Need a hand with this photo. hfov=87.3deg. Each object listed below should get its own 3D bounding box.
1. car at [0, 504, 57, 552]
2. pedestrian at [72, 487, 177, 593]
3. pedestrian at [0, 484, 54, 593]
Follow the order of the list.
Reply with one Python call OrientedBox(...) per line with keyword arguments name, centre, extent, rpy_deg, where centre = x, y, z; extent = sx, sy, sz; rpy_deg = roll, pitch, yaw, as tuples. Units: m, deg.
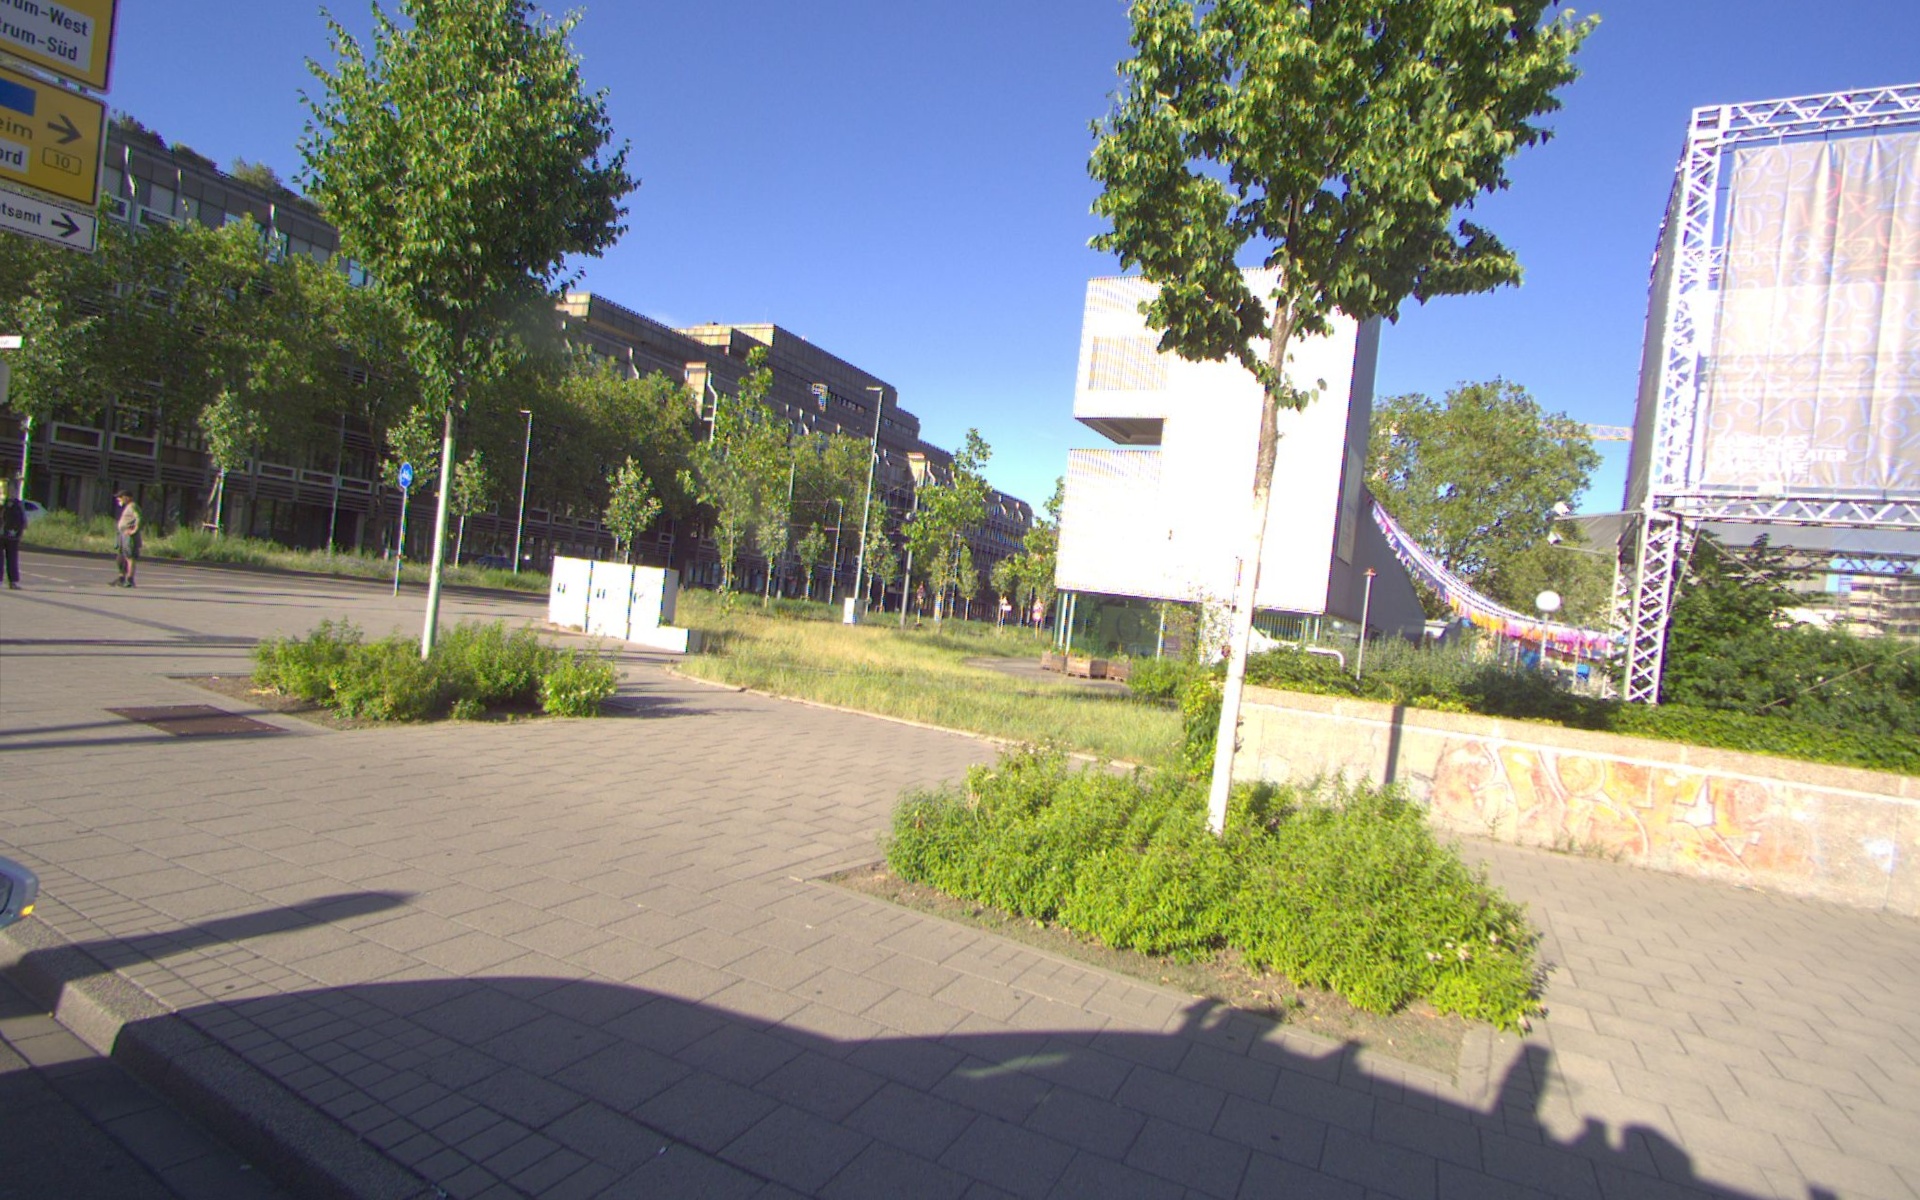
OrientedBox(name="car", centre=(-37.236, -2.947, 38.244), extent=(1.630, 1.603, 3.912), rpy_deg=(7, -2, 25))
OrientedBox(name="pedestrian", centre=(-14.883, -1.056, 17.943), extent=(0.946, 1.684, 0.882), rpy_deg=(7, -1, 11))
OrientedBox(name="pedestrian", centre=(-14.042, -0.921, 14.789), extent=(0.633, 1.510, 0.789), rpy_deg=(6, -1, 31))
